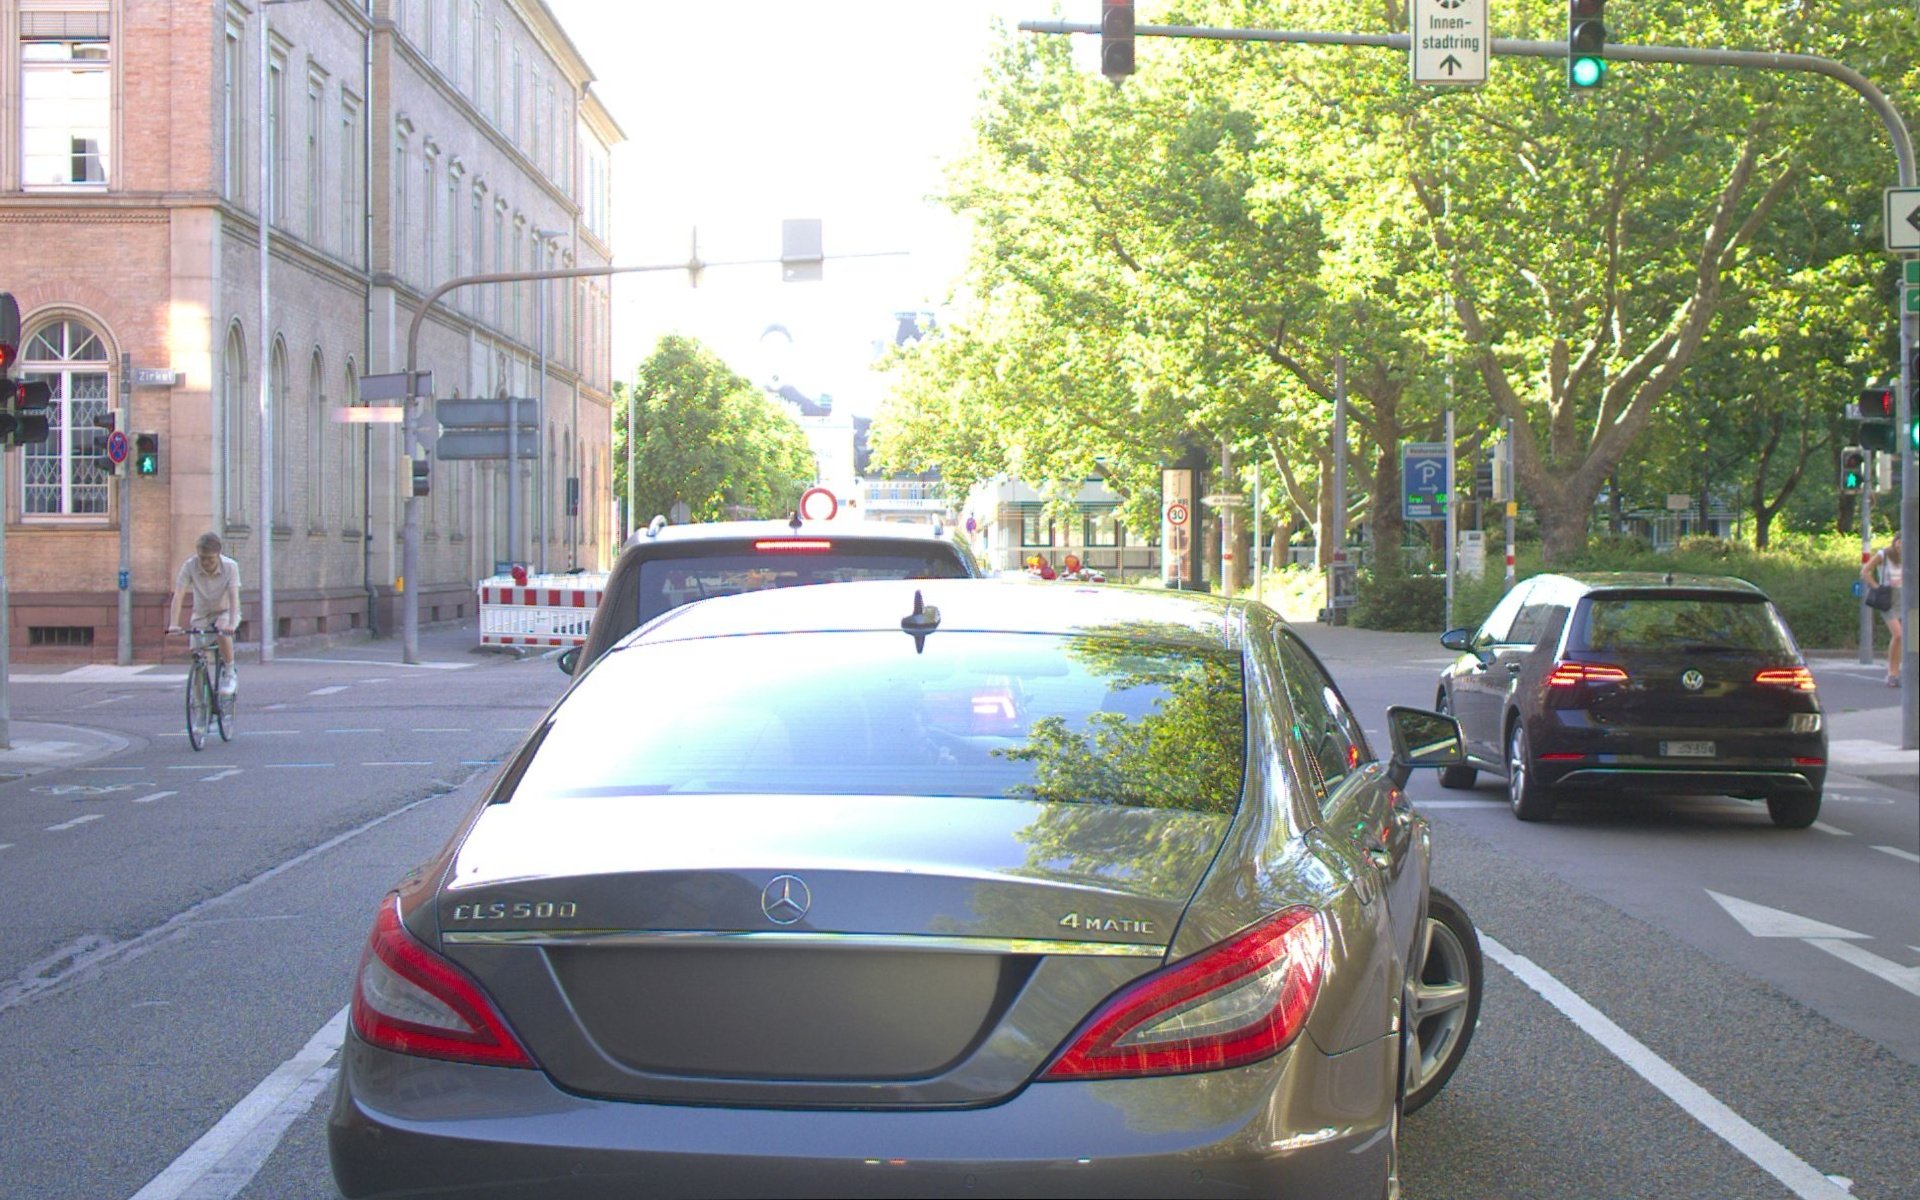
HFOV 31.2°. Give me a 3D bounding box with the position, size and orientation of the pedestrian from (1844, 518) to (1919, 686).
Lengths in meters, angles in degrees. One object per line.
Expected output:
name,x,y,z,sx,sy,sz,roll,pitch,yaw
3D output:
pedestrian,10.099,0.020,37.442,0.732,1.802,0.909,-1,-1,4

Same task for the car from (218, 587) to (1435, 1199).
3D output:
car,0.077,0.706,7.470,1.843,1.424,4.516,1,1,8

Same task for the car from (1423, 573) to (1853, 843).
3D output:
car,4.000,0.581,20.892,1.689,1.435,3.902,2,1,-2

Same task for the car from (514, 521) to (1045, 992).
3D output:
car,-0.582,0.517,13.743,1.809,1.607,4.000,0,1,1

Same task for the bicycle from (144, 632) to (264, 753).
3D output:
bicycle,-5.972,0.717,27.240,0.548,0.888,1.868,1,1,-1

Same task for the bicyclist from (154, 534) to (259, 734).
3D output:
bicyclist,-5.970,0.264,27.262,0.648,1.553,0.807,1,0,-1
